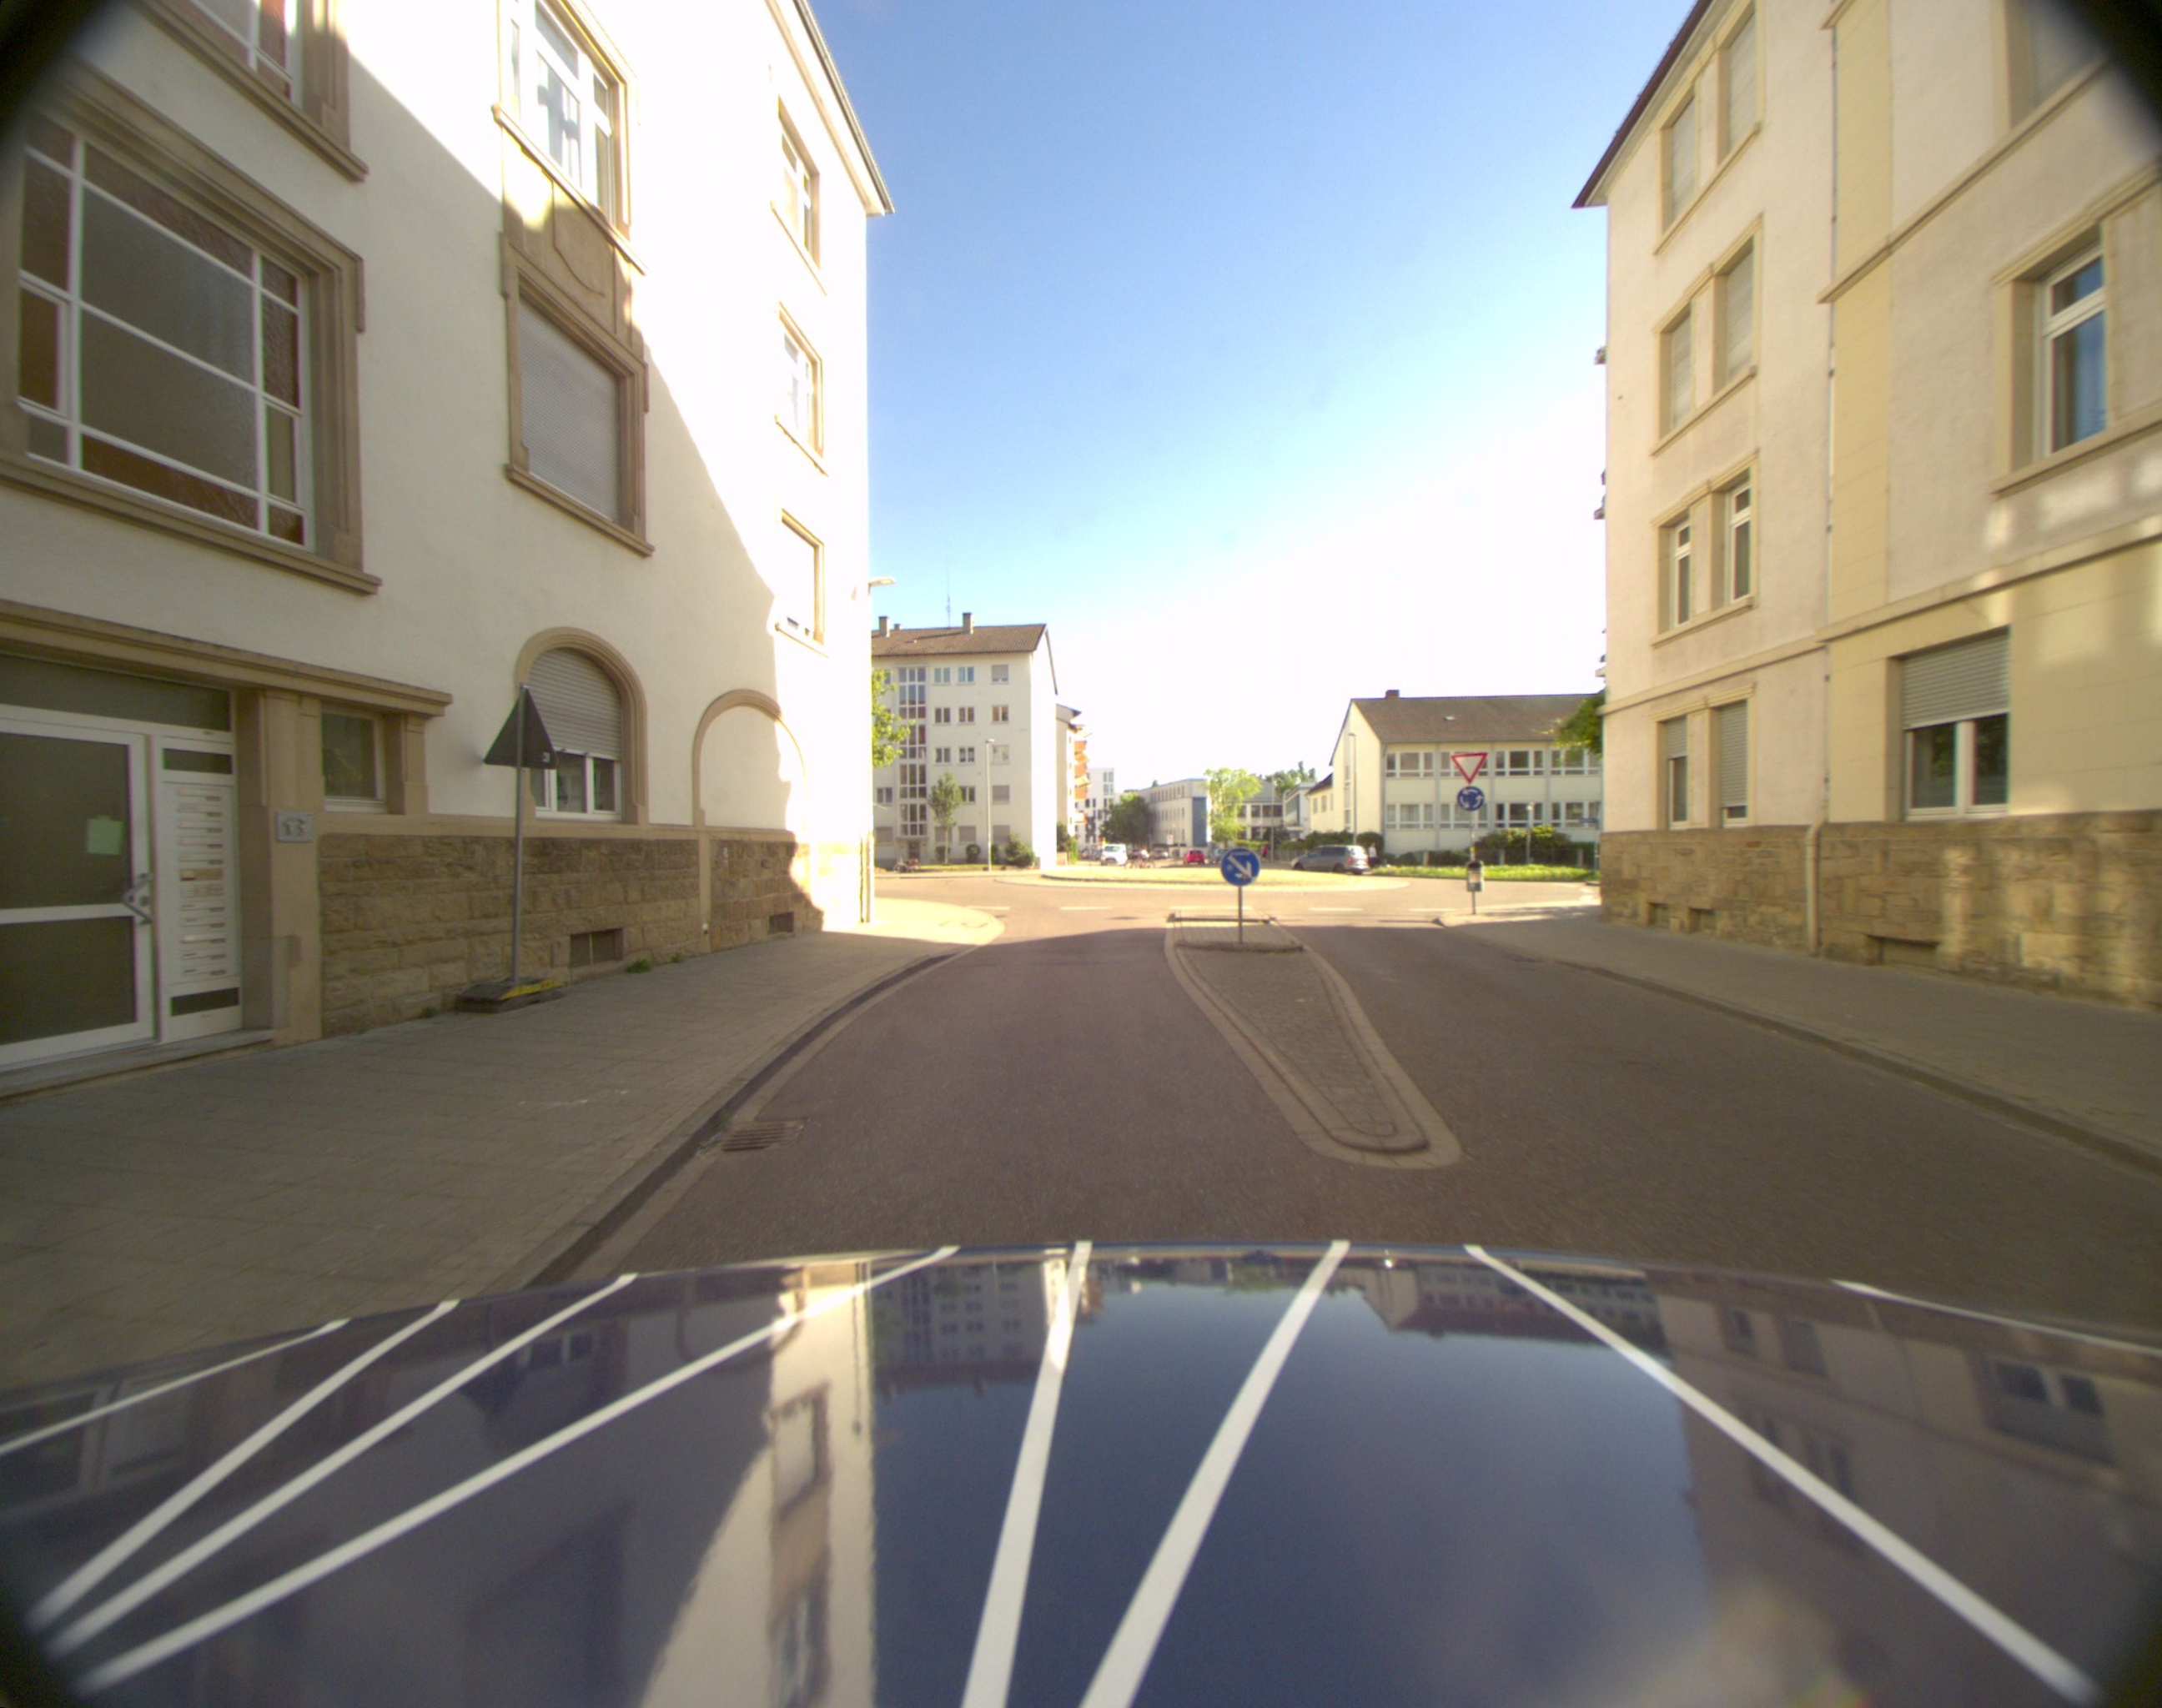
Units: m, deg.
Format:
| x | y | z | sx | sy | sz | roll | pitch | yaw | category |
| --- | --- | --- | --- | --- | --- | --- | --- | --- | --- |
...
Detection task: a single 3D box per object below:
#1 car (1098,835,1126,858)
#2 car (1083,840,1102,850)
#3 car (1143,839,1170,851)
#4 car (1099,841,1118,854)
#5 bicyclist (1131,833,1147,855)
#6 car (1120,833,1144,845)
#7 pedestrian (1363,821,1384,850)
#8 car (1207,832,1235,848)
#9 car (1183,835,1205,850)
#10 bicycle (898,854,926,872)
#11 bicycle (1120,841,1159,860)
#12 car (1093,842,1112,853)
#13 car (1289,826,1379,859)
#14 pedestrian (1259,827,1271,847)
| x | y | z | sx | sy | sz | roll | pitch | yaw | category |
| --- | --- | --- | --- | --- | --- | --- | --- | --- | --- |
| 2.935 | -0.739 | 70.574 | 1.997 | 2.002 | 4.799 | 2 | 1 | 8 | car |
| 2.116 | -1.613 | 139.054 | 2.140 | 1.800 | 4.829 | -3 | 1 | -14 | car |
| 10.302 | -1.244 | 104.118 | 2.140 | 1.604 | 4.828 | -3 | 1 | -15 | car |
| 3.481 | -0.826 | 96.491 | 1.759 | 1.445 | 3.996 | 2 | 1 | -7 | car |
| 3.436 | -0.605 | 45.221 | 0.825 | 1.305 | 0.811 | -2 | 2 | -2 | bicyclist |
| 7.662 | -2.192 | 113.565 | 2.140 | 1.604 | 4.829 | -3 | 1 | -14 | car |
| 17.940 | -1.142 | 46.614 | 0.994 | 1.696 | 0.693 | -1 | 2 | 37 | pedestrian |
| 13.789 | -1.391 | 75.013 | 1.884 | 1.426 | 4.414 | -2 | 1 | 0 | car |
| 10.794 | -1.086 | 72.782 | 1.715 | 1.374 | 4.000 | 0 | 1 | 2 | car |
| -10.571 | 0.559 | 47.542 | 1.624 | 1.073 | 0.384 | -1 | 4 | -1 | bicycle |
| 3.463 | -0.209 | 45.231 | 2.209 | 1.008 | 0.811 | -2 | 1 | -2 | bicycle |
| 2.867 | -0.891 | 100.953 | 1.759 | 1.445 | 3.996 | 2 | 1 | -8 | car |
| 13.756 | -0.607 | 41.496 | 1.884 | 1.686 | 4.262 | -2 | 0 | -38 | car |
| 15.928 | -1.437 | 65.823 | 0.819 | 1.696 | 0.997 | -2 | 2 | 3 | pedestrian |
